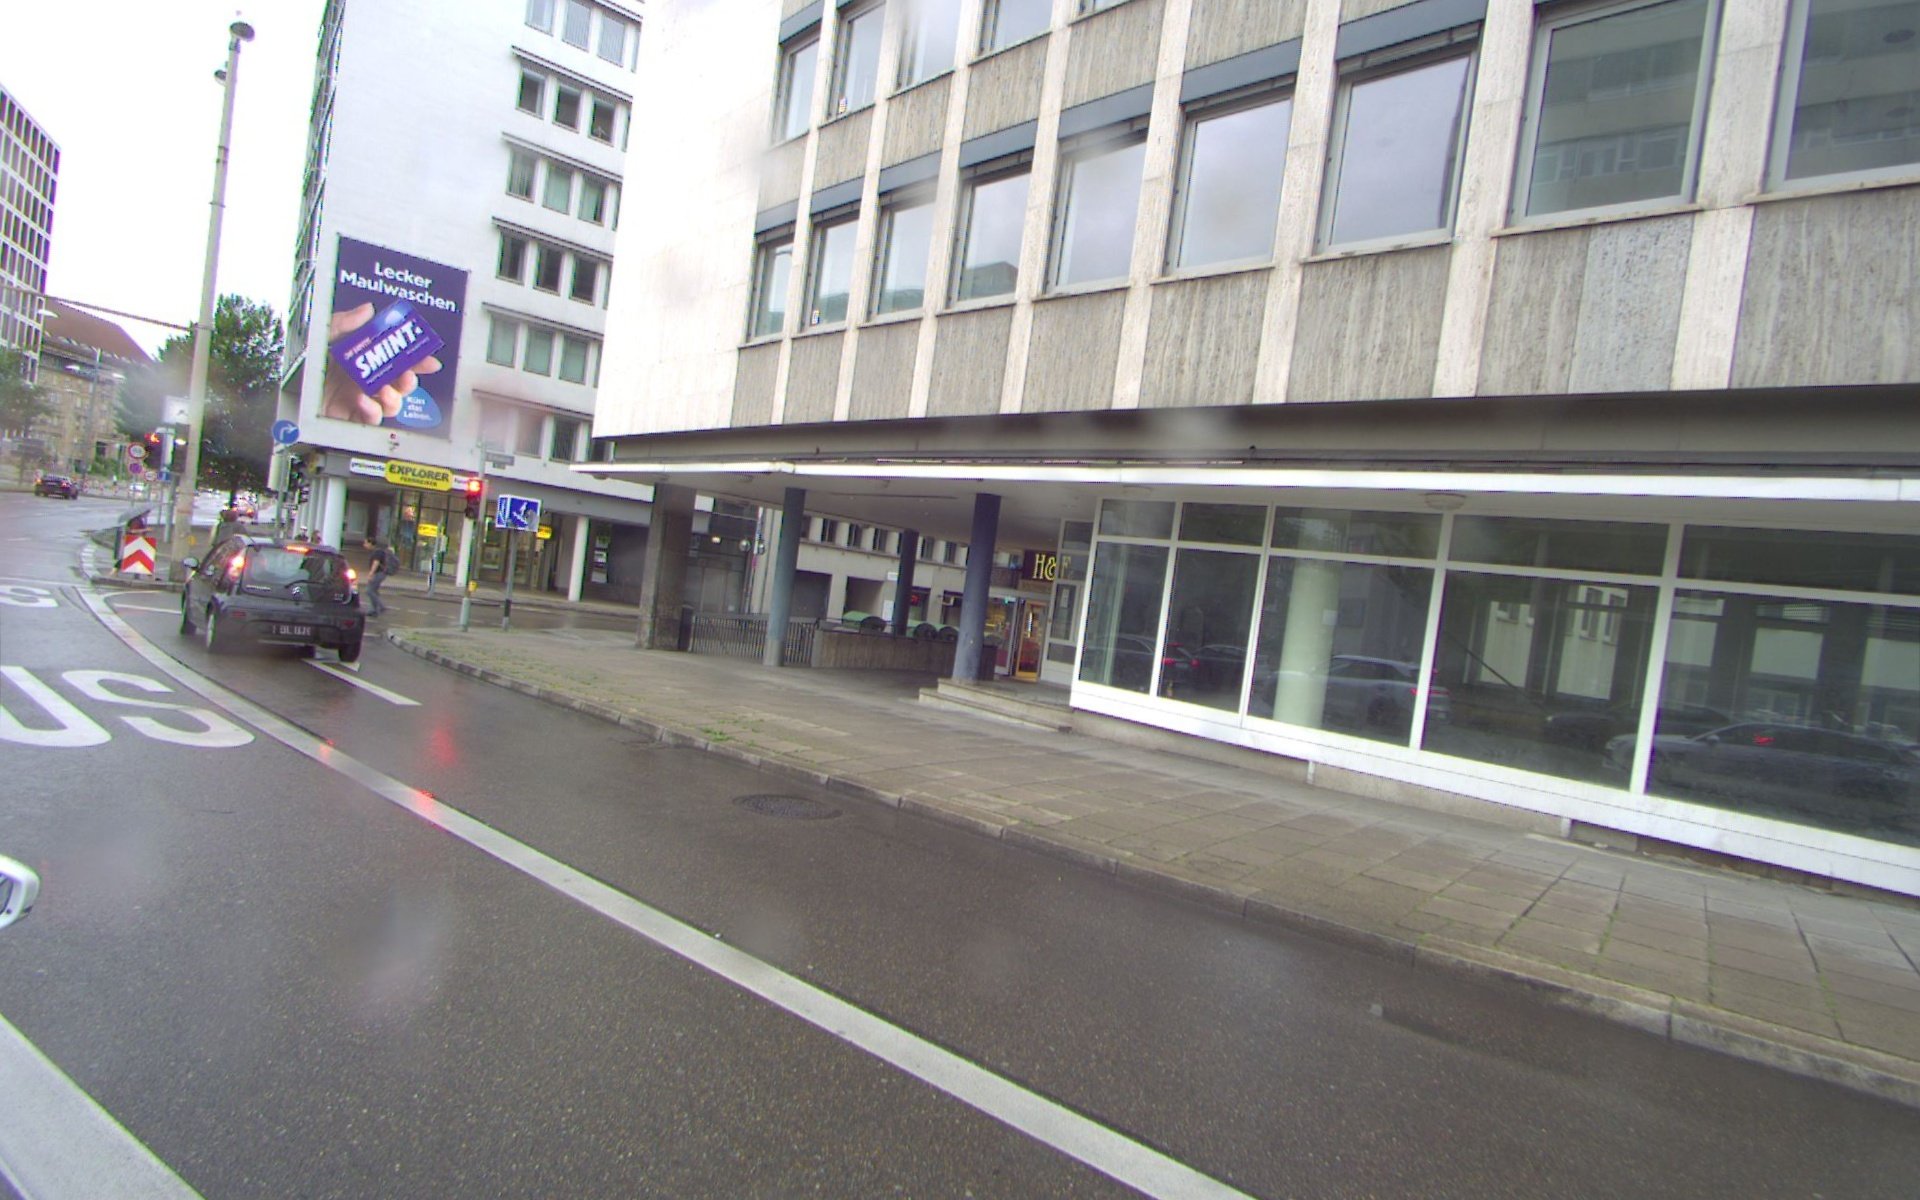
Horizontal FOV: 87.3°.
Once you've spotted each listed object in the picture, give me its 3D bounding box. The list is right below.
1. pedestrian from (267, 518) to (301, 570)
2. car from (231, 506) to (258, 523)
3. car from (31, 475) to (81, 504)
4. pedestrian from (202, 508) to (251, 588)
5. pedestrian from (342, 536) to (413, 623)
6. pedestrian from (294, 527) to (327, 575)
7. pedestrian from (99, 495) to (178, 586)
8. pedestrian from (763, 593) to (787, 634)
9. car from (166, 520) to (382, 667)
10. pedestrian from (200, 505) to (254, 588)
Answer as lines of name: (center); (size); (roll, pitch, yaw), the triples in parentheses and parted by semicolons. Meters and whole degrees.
pedestrian: (-23.260, -1.932, 34.603); (0.725, 1.688, 0.682); (7, 0, -43)
car: (-83.113, -9.956, 116.963); (1.896, 1.527, 4.324); (9, -2, -29)
car: (-63.143, -7.679, 70.310); (1.983, 1.570, 3.962); (9, -2, -35)
pedestrian: (-17.784, -1.271, 24.380); (0.725, 1.820, 0.730); (7, 1, -43)
pedestrian: (-12.874, -0.439, 22.264); (1.002, 1.776, 0.793); (7, -1, -14)
pedestrian: (-22.603, -1.705, 34.995); (0.725, 1.542, 0.751); (7, -1, -43)
pedestrian: (-17.227, -1.237, 21.112); (0.717, 1.759, 0.924); (7, 0, 27)
pedestrian: (-8.625, 0.618, 46.832); (0.677, 1.820, 0.722); (7, 0, -37)
car: (-9.130, -0.130, 13.286); (1.658, 1.490, 3.439); (8, -1, -45)
pedestrian: (-17.321, -1.265, 23.779); (0.810, 1.820, 0.702); (7, 0, -43)
